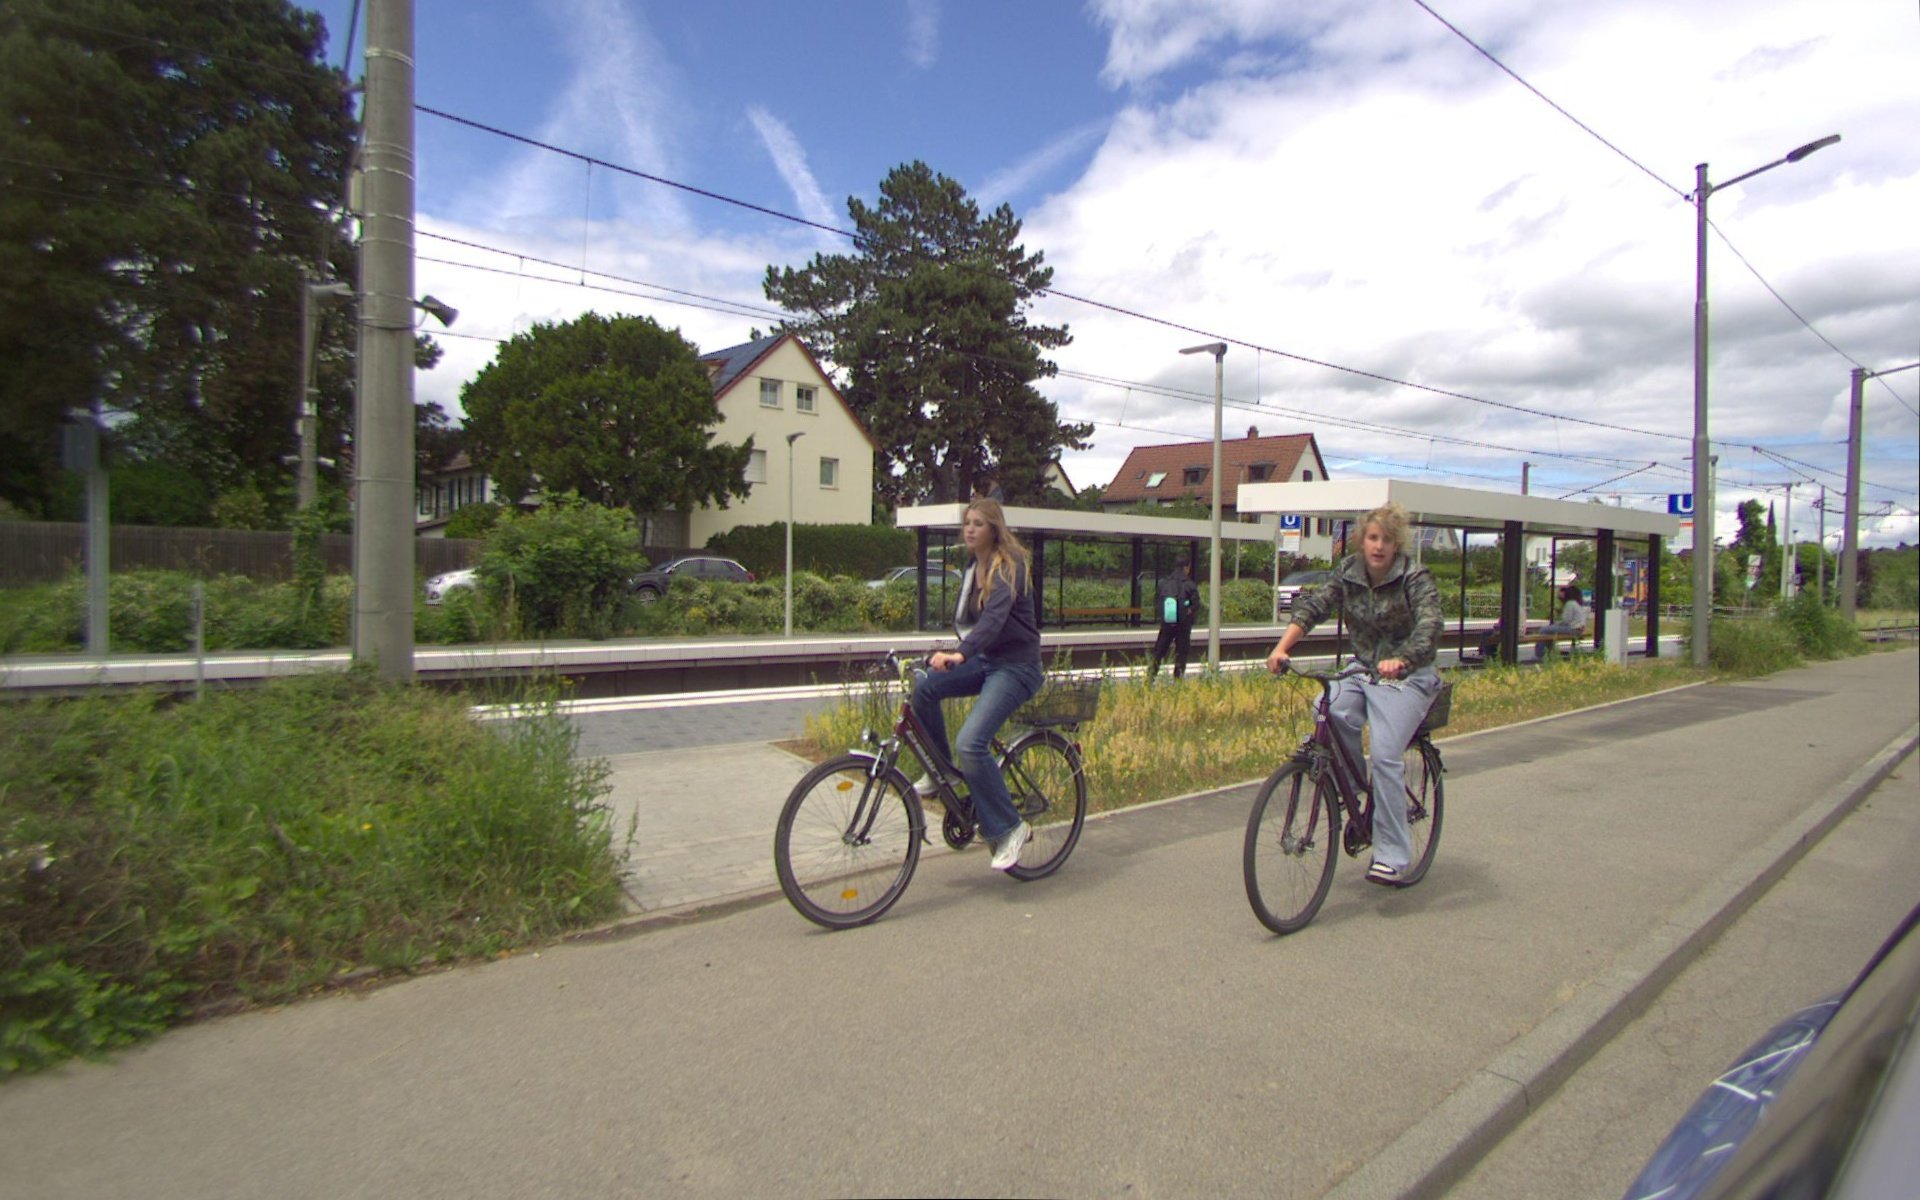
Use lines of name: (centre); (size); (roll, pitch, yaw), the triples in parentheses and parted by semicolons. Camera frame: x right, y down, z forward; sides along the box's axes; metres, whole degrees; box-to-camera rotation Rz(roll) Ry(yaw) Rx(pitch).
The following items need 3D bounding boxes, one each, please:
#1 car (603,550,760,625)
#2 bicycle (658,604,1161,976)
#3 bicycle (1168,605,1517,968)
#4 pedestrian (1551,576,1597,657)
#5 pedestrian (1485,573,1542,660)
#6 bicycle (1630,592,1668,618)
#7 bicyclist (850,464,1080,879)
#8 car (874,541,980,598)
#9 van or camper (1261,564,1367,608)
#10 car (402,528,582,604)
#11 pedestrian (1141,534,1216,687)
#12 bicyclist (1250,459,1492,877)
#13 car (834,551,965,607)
car: (-7.709, -0.363, 28.113); (3.860, 1.938, 1.738); (-1, 0, -36)
bicycle: (-0.087, 0.658, 4.493); (2.354, 1.262, 0.619); (0, 1, -42)
bicycle: (1.759, 0.662, 4.444); (2.019, 1.262, 0.547); (0, 1, -42)
pedestrian: (10.828, 0.277, 17.849); (0.388, 1.358, 0.489); (-2, 7, -11)
pedestrian: (9.200, 0.262, 16.822); (0.726, 1.397, 0.583); (1, 0, -40)
bicycle: (36.168, 0.292, 53.108); (2.491, 1.053, 0.543); (6, 16, -36)
bicyclist: (0.027, 0.282, 4.582); (0.804, 1.670, 0.640); (1, 0, -41)
car: (-1.341, -1.209, 39.103); (1.716, 1.967, 4.338); (0, 4, -41)
van or camper: (15.870, -0.635, 45.274); (4.951, 1.848, 1.912); (0, 2, -35)
car: (-11.681, -0.806, 25.328); (3.859, 1.773, 1.738); (0, 1, -35)
pedestrian: (2.569, 0.114, 11.941); (0.641, 1.747, 0.641); (0, 0, -13)
bicyclist: (1.813, 0.259, 4.474); (0.744, 1.632, 0.718); (1, 0, -41)
car: (-1.894, -0.654, 32.350); (3.931, 1.683, 1.779); (0, 1, -42)
